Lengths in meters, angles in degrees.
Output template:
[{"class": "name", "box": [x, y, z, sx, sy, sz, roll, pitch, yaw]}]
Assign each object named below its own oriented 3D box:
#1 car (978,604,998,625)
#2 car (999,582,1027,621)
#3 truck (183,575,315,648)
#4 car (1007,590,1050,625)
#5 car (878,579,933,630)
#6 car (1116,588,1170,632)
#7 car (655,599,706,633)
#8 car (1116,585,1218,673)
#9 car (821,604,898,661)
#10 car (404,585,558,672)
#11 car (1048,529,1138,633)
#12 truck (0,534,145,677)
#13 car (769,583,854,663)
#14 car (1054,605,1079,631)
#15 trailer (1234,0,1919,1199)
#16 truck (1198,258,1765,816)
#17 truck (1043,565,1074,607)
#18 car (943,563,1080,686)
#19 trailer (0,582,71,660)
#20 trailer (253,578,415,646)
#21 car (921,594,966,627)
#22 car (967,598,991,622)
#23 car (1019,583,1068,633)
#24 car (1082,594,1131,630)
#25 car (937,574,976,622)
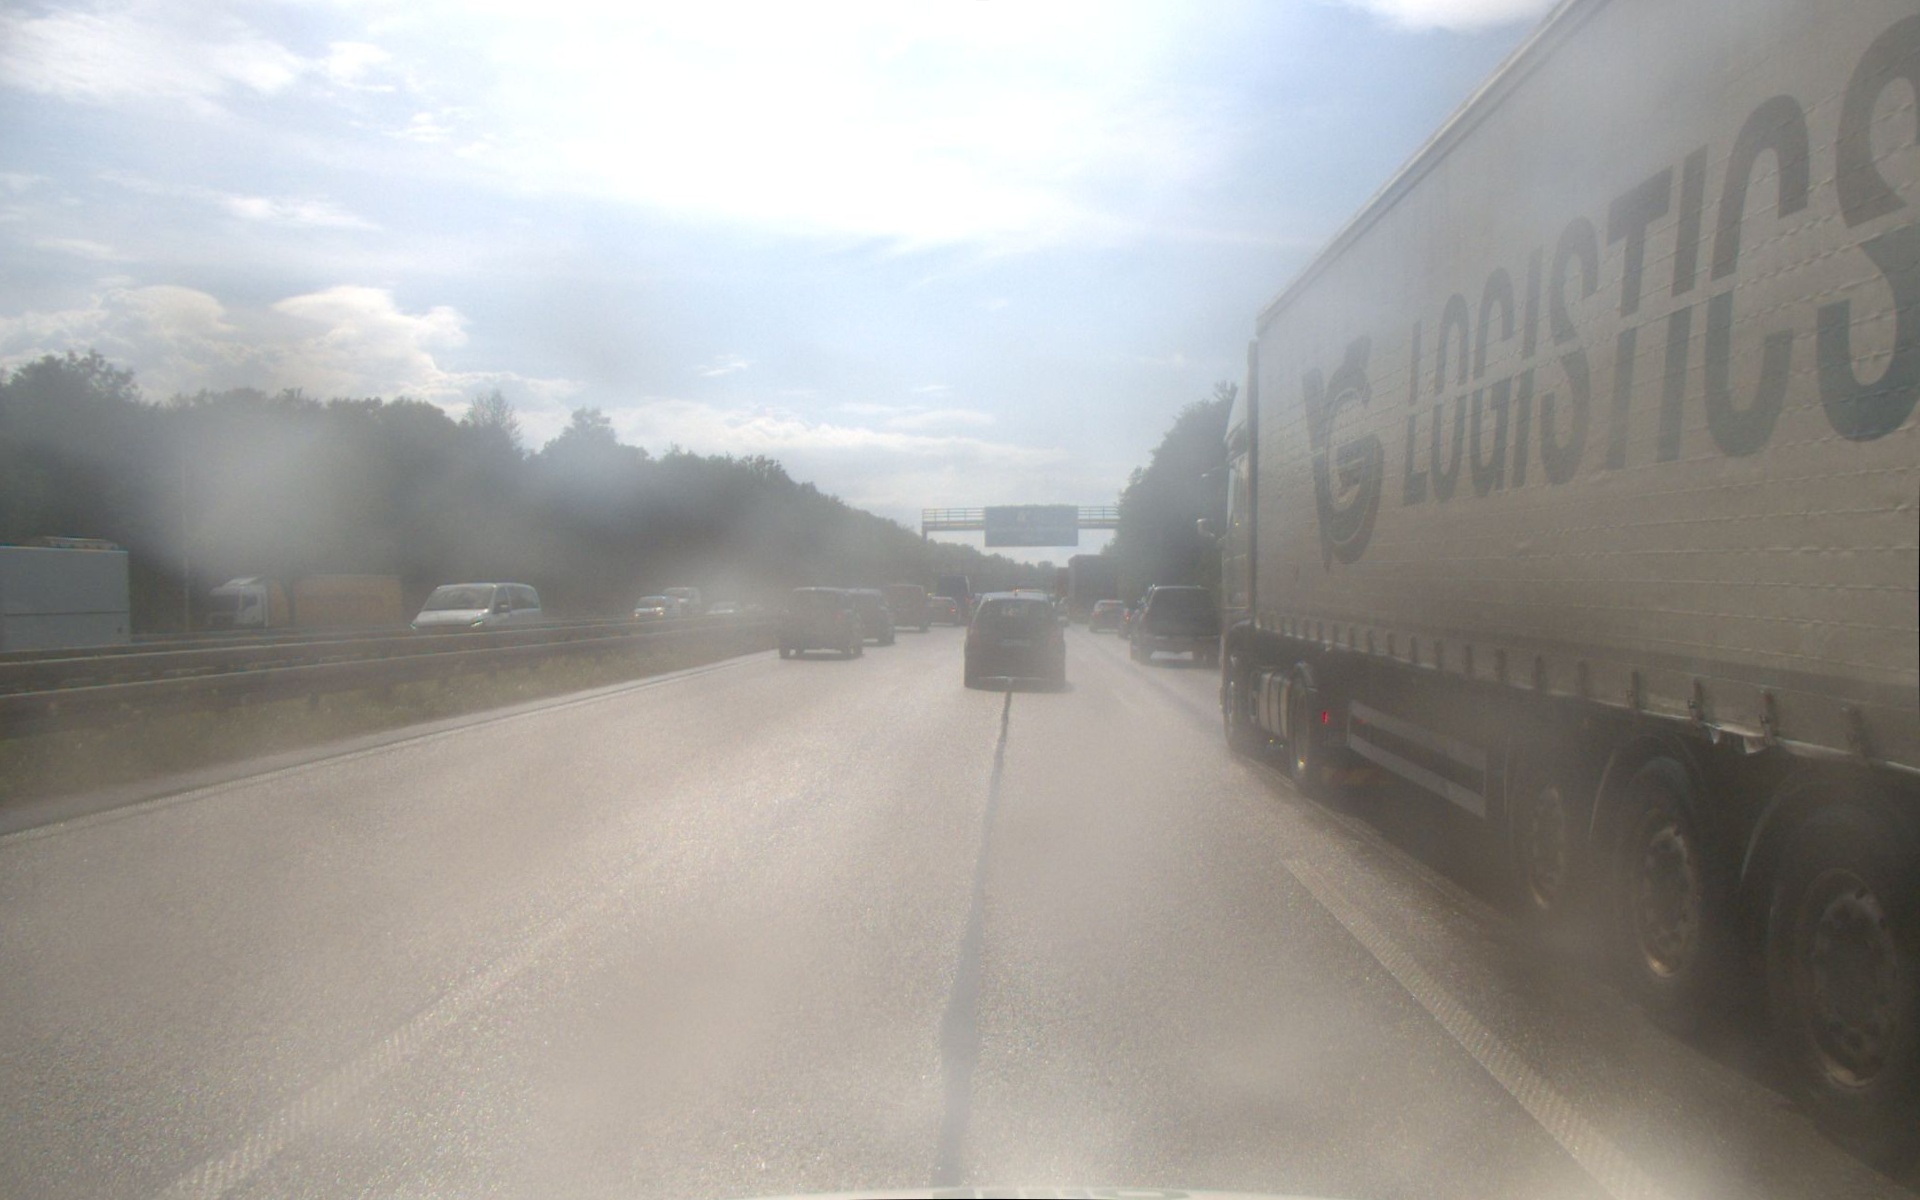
[{"class": "car", "box": [2.965, 1.495, 174.585, 1.952, 2.152, 4.890, 1, 0, 3]}, {"class": "car", "box": [3.883, 0.137, 120.889, 1.952, 2.794, 5.261, 1, 0, 3]}, {"class": "truck", "box": [-43.228, 0.713, 100.860, 3.707, 4.189, 7.050, 1, -1, 15]}, {"class": "car", "box": [3.129, 0.362, 76.181, 1.826, 1.542, 3.976, 1, 0, 0]}, {"class": "car", "box": [-2.317, 0.202, 70.877, 1.937, 2.090, 4.758, 1, 0, 3]}, {"class": "car", "box": [6.759, 0.378, 61.374, 1.558, 1.542, 3.976, 1, 0, 0]}, {"class": "car", "box": [-16.761, 0.964, 99.413, 2.004, 1.924, 5.260, 1, 0, 2]}, {"class": "car", "box": [4.963, 0.679, 40.273, 1.901, 1.952, 5.653, 1, 0, 2]}, {"class": "car", "box": [-3.065, 0.979, 51.361, 1.869, 1.665, 4.618, 0, 0, 3]}, {"class": "car", "box": [-11.367, 0.658, 39.663, 2.004, 1.924, 5.260, 1, 0, 2]}, {"class": "car", "box": [8.187, -1.050, 104.749, 4.313, 5.932, 16.817, 1, 0, 0]}, {"class": "truck", "box": [-19.603, 0.097, 33.024, 2.783, 2.729, 7.193, 1, 0, 2]}, {"class": "car", "box": [-3.600, 0.558, 40.597, 1.658, 1.836, 3.976, 1, 0, 0]}, {"class": "car", "box": [8.927, 1.499, 138.668, 1.952, 2.152, 4.890, 1, 0, 3]}, {"class": "trailer", "box": [4.010, -0.471, 8.293, 3.216, 3.967, 14.131, 1, 0, 2]}, {"class": "truck", "box": [4.224, -0.462, 15.143, 3.216, 3.959, 6.397, 1, 0, 1]}, {"class": "truck", "box": [8.979, -1.236, 151.185, 2.717, 3.695, 5.918, 1, 0, 3]}, {"class": "car", "box": [0.888, 0.422, 29.800, 2.227, 1.989, 4.821, 1, 0, 1]}, {"class": "trailer", "box": [-47.956, 1.024, 79.303, 3.708, 3.713, 10.506, 0, 0, 9]}, {"class": "trailer", "box": [-40.989, 0.811, 108.995, 3.707, 4.189, 11.733, 1, 0, 15]}, {"class": "car", "box": [-0.809, 0.543, 83.744, 1.952, 1.592, 4.758, 1, 0, 3]}, {"class": "car", "box": [1.702, 0.903, 148.118, 1.952, 2.152, 4.890, 1, 0, 3]}, {"class": "car", "box": [3.192, 0.326, 63.666, 1.658, 1.836, 3.976, 1, 0, 0]}, {"class": "car", "box": [6.488, 0.543, 73.452, 1.826, 1.542, 3.976, 1, 0, 0]}, {"class": "car", "box": [-0.192, -0.106, 96.689, 1.952, 2.661, 5.261, 1, 0, 3]}]
